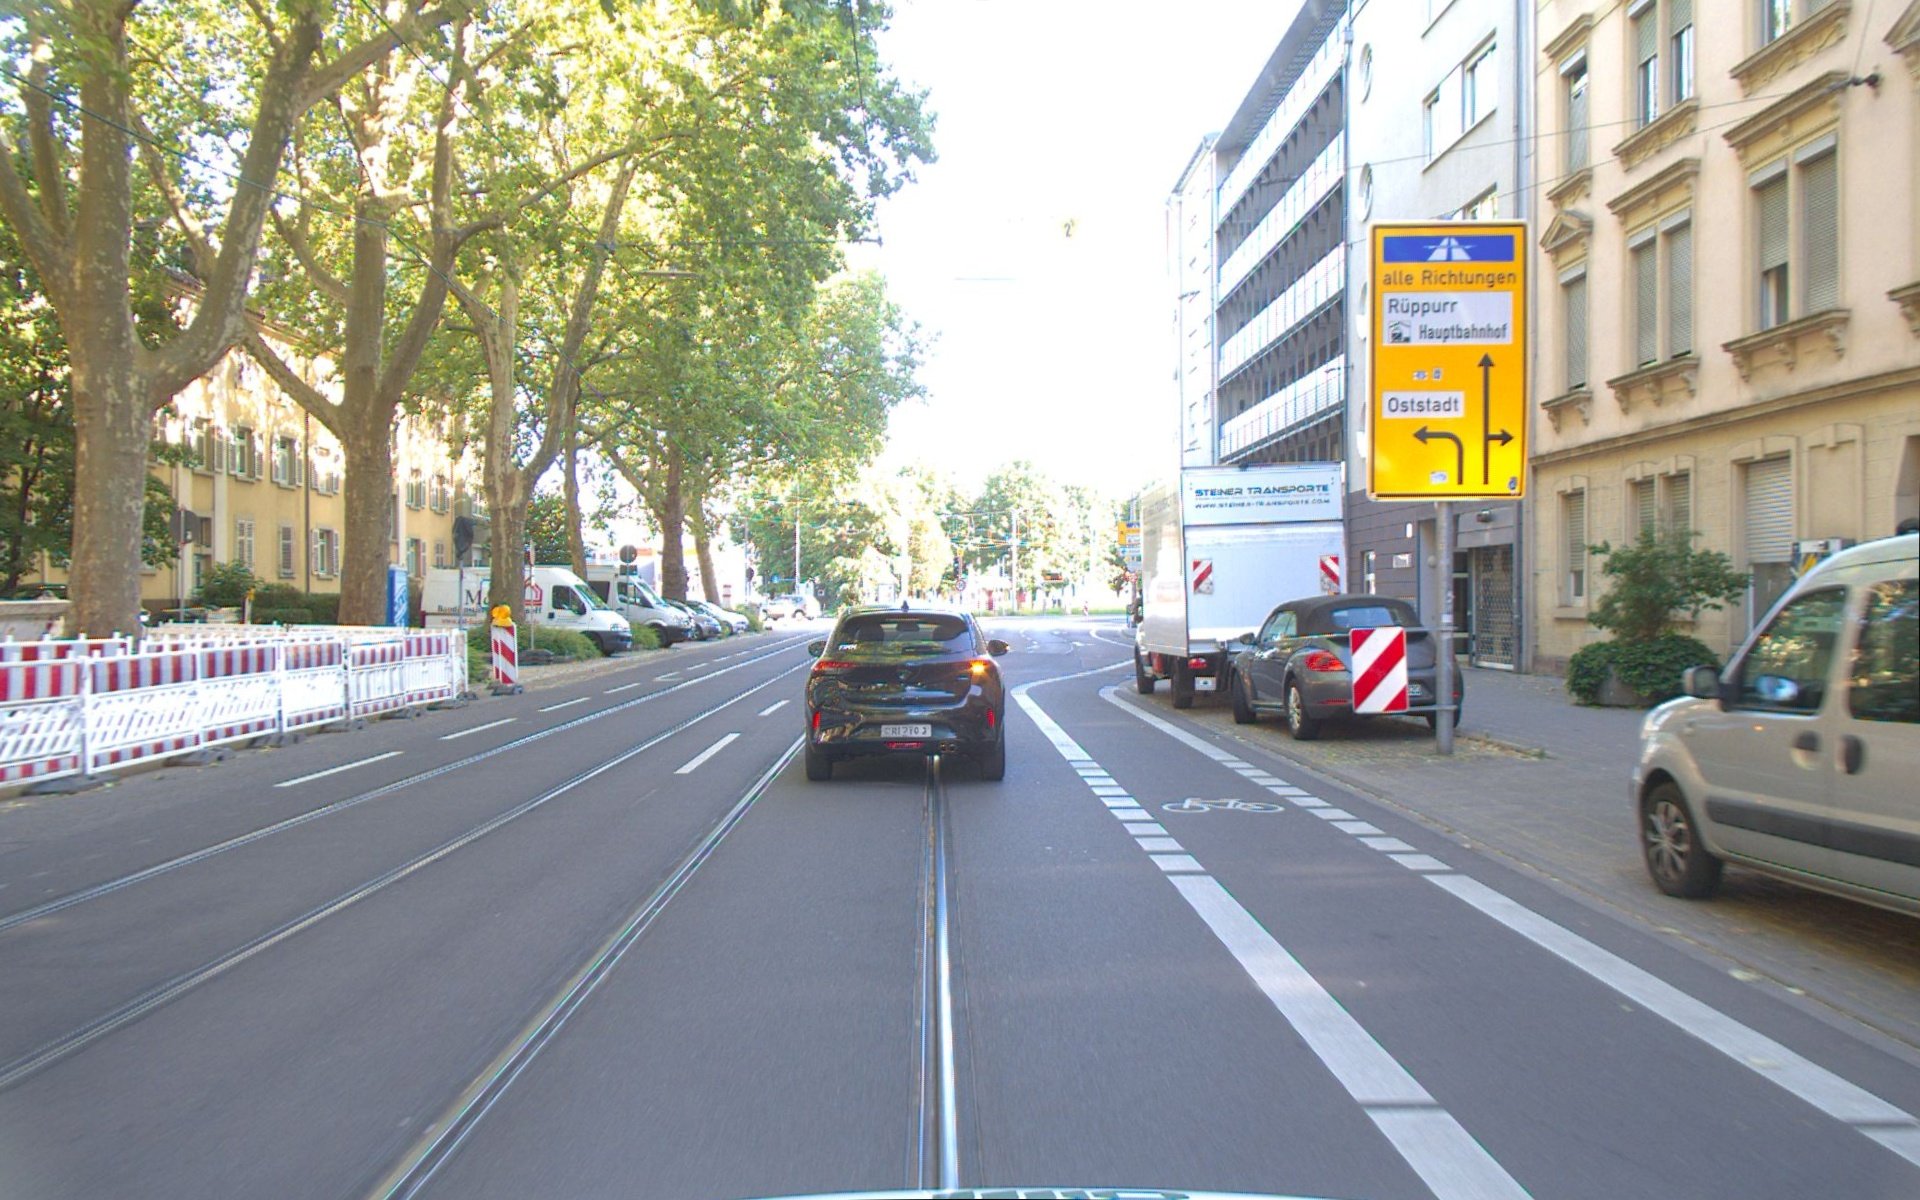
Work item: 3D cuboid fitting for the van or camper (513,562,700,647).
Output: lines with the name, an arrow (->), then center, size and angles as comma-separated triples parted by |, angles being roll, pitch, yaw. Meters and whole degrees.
van or camper -> -11.538, 0.150, 54.350 | 5.607, 2.690, 2.269 | 1, 0, -1

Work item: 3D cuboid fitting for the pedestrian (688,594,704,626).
pedestrian -> -18.482, 0.683, 115.750 | 0.812, 2.259, 0.888 | 1, -1, -35

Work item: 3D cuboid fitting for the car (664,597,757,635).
car -> -11.542, 0.751, 76.738 | 4.086, 1.700, 1.963 | 0, 0, -4

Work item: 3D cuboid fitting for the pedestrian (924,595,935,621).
pedestrian -> -2.251, 0.581, 121.744 | 0.606, 1.886, 0.581 | 0, -1, 37

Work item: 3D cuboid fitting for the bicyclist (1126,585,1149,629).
bicyclist -> 5.914, 0.221, 55.205 | 0.691, 1.461, 0.703 | -1, 0, 11

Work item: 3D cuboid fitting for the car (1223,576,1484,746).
car -> 4.222, 0.603, 18.419 | 1.696, 1.584, 4.149 | -3, 0, -2

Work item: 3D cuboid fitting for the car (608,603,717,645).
car -> -11.485, 0.917, 63.998 | 3.905, 1.541, 1.650 | 1, 0, 0

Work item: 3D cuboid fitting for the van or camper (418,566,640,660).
van or camper -> -11.656, 0.347, 45.014 | 5.387, 2.421, 2.270 | 1, 0, 2

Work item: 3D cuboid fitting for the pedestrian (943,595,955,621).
pedestrian -> -0.805, 0.603, 122.730 | 0.605, 1.886, 0.582 | 0, -1, 33

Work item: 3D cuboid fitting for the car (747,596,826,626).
car -> -11.004, 0.709, 105.040 | 4.634, 1.725, 1.997 | -2, 0, 29

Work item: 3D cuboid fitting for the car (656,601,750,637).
car -> -11.481, 0.858, 73.915 | 3.905, 1.541, 1.650 | 1, 0, 0

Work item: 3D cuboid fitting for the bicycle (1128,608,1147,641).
bicycle -> 5.933, 0.814, 55.189 | 0.497, 1.086, 1.566 | -1, 0, 11

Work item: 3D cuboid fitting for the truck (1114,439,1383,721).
truck -> 3.937, -0.257, 24.253 | 2.487, 3.396, 7.194 | -3, 0, 0

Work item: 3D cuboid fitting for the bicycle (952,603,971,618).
bicycle -> 0.111, 0.726, 114.555 | 0.771, 1.009, 2.245 | 1, 0, 15

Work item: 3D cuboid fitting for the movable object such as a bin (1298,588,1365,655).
movable object such as a bin -> 8.741, 0.494, 38.973 | 1.162, 1.510, 1.595 | -2, 0, -1

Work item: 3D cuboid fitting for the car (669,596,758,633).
car -> -11.778, 0.707, 79.254 | 4.086, 1.700, 1.963 | -1, 0, -4

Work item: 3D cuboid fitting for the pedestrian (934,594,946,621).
pedestrian -> -1.507, 0.543, 122.004 | 0.645, 1.966, 0.608 | 0, -1, 31

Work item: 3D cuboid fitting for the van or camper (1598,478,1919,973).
van or camper -> 4.482, 0.464, 7.081 | 1.636, 1.915, 4.208 | -2, 0, -3

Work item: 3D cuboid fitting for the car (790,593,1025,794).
car -> -0.327, 0.703, 14.660 | 1.744, 1.522, 4.002 | 0, 0, 3
